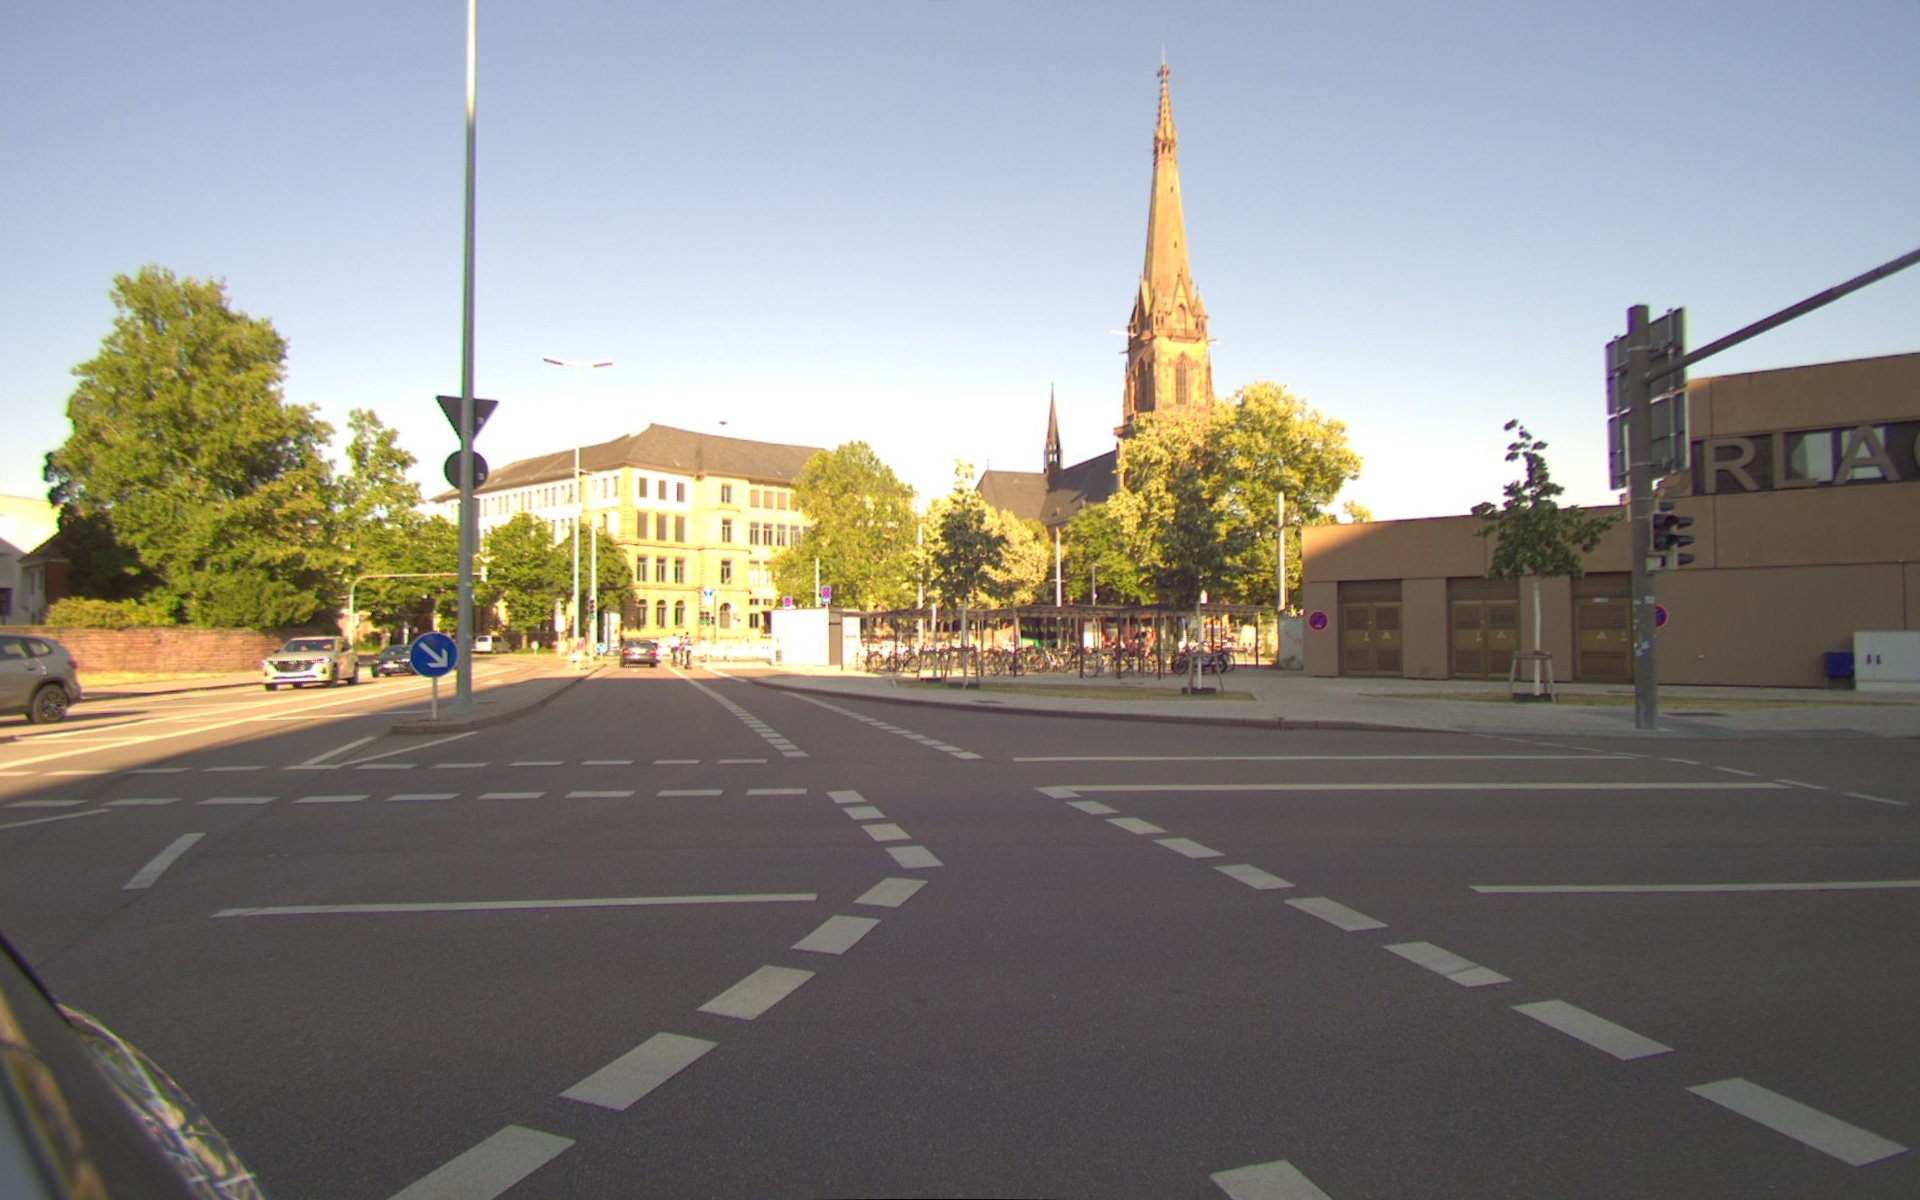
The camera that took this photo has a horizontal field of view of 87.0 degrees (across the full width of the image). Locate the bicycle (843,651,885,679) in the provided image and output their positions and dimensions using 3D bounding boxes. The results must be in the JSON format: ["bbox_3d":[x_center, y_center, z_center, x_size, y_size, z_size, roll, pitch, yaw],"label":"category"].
[{"bbox_3d":[-3.978,2.682,41.925,1.973,1.062,0.559,-2,-1,43],"label":"bicycle"}]

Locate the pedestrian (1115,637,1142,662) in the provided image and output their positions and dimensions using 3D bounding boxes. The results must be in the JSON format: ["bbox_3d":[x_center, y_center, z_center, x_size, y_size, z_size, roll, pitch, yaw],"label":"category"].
[{"bbox_3d":[9.647,2.821,57.998,1.078,1.359,1.039,-3,-2,40],"label":"pedestrian"}]

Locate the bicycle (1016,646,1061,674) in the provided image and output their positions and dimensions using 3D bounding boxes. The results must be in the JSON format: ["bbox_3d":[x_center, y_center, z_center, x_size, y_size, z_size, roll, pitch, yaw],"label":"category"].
[{"bbox_3d":[3.320,2.531,42.837,1.928,1.097,0.530,-1,-1,36],"label":"bicycle"}]

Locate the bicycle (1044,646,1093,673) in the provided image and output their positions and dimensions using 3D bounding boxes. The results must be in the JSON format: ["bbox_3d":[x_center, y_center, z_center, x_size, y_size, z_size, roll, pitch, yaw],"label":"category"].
[{"bbox_3d":[4.636,2.527,43.326,2.068,1.097,0.560,-1,-1,36],"label":"bicycle"}]

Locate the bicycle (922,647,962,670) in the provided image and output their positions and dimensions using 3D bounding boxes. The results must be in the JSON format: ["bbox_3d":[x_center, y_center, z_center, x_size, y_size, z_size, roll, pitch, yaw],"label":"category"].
[{"bbox_3d":[-0.880,2.778,48.393,1.968,1.062,0.492,-1,-1,34],"label":"bicycle"}]

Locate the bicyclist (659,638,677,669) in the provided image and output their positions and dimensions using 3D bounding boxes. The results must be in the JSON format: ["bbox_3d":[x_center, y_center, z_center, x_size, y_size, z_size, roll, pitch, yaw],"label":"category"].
[{"bbox_3d":[-15.766,2.871,54.629,0.852,1.666,0.946,0,-2,-12],"label":"bicyclist"}]

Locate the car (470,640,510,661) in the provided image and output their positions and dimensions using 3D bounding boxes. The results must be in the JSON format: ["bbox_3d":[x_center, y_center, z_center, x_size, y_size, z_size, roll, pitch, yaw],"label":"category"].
[{"bbox_3d":[-51.133,5.495,110.200,1.976,2.028,4.144,-1,1,7],"label":"car"}]

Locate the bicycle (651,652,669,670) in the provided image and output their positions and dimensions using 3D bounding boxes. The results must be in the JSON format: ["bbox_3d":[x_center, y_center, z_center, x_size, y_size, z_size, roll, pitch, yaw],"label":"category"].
[{"bbox_3d":[-18.633,3.789,62.885,0.868,1.106,2.194,0,-2,-12],"label":"bicycle"}]

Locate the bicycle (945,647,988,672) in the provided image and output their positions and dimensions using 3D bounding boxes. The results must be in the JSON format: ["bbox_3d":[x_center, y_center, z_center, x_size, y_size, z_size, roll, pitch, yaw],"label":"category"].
[{"bbox_3d":[0.291,2.647,45.301,1.969,1.062,0.560,-1,-1,35],"label":"bicycle"}]

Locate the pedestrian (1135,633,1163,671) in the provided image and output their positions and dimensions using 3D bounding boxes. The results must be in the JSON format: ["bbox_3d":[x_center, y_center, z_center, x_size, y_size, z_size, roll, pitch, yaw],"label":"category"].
[{"bbox_3d":[10.454,2.875,55.837,1.029,2.029,1.120,-3,-2,40],"label":"pedestrian"}]

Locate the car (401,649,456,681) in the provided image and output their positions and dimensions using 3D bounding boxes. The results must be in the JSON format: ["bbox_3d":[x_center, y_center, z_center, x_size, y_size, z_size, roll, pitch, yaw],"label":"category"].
[{"bbox_3d":[-29.541,3.567,56.372,2.157,1.598,4.621,-2,-2,-21],"label":"car"}]

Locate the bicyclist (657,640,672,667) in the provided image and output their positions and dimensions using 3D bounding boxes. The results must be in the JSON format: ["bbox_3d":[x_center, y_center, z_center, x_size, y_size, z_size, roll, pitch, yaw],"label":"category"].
[{"bbox_3d":[-18.355,3.344,62.903,0.852,1.666,0.946,0,-2,-12],"label":"bicyclist"}]

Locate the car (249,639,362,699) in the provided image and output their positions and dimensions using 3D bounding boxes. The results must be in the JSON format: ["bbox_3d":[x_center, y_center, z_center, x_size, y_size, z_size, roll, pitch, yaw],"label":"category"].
[{"bbox_3d":[-20.999,2.155,32.684,2.157,1.697,4.621,-2,-2,-21],"label":"car"}]

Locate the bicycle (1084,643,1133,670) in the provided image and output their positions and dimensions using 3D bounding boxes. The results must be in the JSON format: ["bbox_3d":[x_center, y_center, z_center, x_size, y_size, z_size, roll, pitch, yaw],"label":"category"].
[{"bbox_3d":[6.363,2.420,43.513,2.068,1.097,0.560,-1,-1,36],"label":"bicycle"}]

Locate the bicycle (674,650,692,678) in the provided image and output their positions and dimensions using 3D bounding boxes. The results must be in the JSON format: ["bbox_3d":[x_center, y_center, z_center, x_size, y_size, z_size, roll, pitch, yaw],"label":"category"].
[{"bbox_3d":[-12.764,2.948,46.687,0.752,1.196,2.613,-2,-2,-15],"label":"bicycle"}]

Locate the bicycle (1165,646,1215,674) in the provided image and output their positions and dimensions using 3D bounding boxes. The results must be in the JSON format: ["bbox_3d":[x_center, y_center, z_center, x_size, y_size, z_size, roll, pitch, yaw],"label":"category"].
[{"bbox_3d":[9.345,2.428,41.088,1.928,1.051,0.516,-1,-1,36],"label":"bicycle"}]

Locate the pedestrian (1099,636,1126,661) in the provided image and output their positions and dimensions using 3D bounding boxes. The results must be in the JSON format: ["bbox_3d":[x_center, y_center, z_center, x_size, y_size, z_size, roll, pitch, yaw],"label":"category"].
[{"bbox_3d":[8.643,2.731,57.319,1.078,1.359,1.039,-3,-2,40],"label":"pedestrian"}]

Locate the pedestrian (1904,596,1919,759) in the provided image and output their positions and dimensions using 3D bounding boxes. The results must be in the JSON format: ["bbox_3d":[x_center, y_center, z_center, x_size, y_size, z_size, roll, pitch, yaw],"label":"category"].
[{"bbox_3d":[10.722,0.823,10.571,0.776,1.754,0.927,0,-2,1],"label":"pedestrian"}]

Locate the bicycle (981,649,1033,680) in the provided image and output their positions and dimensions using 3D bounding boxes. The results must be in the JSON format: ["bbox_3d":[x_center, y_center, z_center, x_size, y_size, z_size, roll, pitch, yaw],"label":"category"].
[{"bbox_3d":[1.735,2.387,37.621,1.970,1.114,0.560,-1,-1,37],"label":"bicycle"}]

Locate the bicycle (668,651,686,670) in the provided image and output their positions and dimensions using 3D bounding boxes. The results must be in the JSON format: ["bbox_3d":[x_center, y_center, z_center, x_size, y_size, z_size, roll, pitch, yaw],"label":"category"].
[{"bbox_3d":[-16.431,3.500,58.764,0.868,1.106,2.194,0,-2,-12],"label":"bicycle"}]

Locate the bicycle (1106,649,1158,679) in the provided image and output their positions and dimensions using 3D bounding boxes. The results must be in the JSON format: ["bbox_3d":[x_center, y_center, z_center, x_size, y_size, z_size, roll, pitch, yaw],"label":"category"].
[{"bbox_3d":[6.356,2.373,37.505,1.842,1.051,0.517,-1,-1,32],"label":"bicycle"}]

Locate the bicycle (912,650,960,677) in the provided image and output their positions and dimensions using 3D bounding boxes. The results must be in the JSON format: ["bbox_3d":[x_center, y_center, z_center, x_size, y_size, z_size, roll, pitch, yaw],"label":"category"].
[{"bbox_3d":[-1.033,2.689,42.881,1.970,1.062,0.749,-1,-1,37],"label":"bicycle"}]

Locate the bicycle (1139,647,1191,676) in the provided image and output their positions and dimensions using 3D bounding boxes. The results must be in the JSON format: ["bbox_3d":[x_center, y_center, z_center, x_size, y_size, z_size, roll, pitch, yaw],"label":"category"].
[{"bbox_3d":[7.943,2.375,39.302,1.928,1.051,0.516,-1,-1,36],"label":"bicycle"}]

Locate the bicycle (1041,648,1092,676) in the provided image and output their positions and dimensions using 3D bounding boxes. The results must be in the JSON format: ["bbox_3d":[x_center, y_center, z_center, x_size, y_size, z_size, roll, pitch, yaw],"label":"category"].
[{"bbox_3d":[4.241,2.460,40.259,2.033,1.051,0.596,-2,-1,41],"label":"bicycle"}]

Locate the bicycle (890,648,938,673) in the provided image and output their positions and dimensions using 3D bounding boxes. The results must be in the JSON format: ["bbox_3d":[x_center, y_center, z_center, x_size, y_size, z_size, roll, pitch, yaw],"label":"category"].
[{"bbox_3d":[-2.070,2.729,45.565,2.115,1.062,0.828,-1,-1,35],"label":"bicycle"}]

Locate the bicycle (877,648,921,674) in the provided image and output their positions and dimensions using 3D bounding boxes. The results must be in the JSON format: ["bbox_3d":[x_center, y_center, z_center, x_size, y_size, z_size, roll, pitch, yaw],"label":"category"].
[{"bbox_3d":[-2.656,2.657,44.049,1.934,1.062,0.674,-1,-1,38],"label":"bicycle"}]

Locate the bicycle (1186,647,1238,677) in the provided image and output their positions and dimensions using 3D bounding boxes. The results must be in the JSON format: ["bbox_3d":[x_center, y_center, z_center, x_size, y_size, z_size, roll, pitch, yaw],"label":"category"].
[{"bbox_3d":[9.475,2.321,38.093,1.843,1.051,0.517,-1,-1,34],"label":"bicycle"}]

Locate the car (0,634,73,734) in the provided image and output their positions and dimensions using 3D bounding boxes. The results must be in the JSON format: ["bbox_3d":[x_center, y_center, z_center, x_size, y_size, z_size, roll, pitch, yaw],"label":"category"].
[{"bbox_3d":[-16.648,1.336,15.627,2.125,1.633,4.364,0,-2,-2],"label":"car"}]

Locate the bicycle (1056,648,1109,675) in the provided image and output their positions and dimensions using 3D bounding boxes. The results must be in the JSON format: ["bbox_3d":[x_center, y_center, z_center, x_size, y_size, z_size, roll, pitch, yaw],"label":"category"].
[{"bbox_3d":[5.021,2.513,41.536,2.103,1.051,0.597,-1,-1,36],"label":"bicycle"}]

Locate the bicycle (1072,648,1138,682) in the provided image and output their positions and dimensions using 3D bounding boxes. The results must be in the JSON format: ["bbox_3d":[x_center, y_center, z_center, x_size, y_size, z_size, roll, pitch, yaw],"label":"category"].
[{"bbox_3d":[5.024,2.269,35.140,2.118,1.114,0.736,-3,-2,34],"label":"bicycle"}]

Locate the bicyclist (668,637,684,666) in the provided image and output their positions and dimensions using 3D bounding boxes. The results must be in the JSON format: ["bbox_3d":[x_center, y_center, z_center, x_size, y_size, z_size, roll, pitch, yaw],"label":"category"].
[{"bbox_3d":[-16.459,2.989,58.707,0.852,1.666,0.946,0,-2,-12],"label":"bicyclist"}]

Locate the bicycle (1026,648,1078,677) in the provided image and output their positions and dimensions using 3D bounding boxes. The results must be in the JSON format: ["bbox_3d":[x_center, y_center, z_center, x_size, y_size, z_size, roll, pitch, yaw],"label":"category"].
[{"bbox_3d":[3.572,2.431,39.382,2.031,1.051,0.596,-1,-1,38],"label":"bicycle"}]

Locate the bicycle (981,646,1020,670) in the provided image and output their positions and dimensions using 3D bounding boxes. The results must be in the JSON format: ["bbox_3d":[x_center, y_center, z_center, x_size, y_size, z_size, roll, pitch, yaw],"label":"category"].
[{"bbox_3d":[1.893,2.713,47.271,1.971,1.062,0.412,-1,-1,39],"label":"bicycle"}]

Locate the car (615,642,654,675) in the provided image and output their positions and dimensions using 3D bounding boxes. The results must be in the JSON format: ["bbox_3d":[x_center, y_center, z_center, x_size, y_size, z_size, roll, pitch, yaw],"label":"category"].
[{"bbox_3d":[-16.418,2.916,51.057,1.776,1.455,3.990,0,-1,-18],"label":"car"}]

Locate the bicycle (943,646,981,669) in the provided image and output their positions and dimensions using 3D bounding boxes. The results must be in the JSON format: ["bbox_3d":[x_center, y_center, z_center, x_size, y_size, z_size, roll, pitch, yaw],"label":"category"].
[{"bbox_3d":[0.106,2.739,48.343,1.971,1.062,0.412,-1,-1,39],"label":"bicycle"}]

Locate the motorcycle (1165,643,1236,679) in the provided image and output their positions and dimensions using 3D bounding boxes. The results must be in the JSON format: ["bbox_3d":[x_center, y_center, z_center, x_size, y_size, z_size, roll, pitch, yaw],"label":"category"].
[{"bbox_3d":[8.613,2.193,36.337,2.354,1.257,0.710,-3,-2,39],"label":"motorcycle"}]

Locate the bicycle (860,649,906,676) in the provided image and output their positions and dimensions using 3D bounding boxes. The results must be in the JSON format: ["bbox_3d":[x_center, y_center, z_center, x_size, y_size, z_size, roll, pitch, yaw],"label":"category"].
[{"bbox_3d":[-3.299,2.670,43.332,2.020,1.062,0.674,-1,-1,38],"label":"bicycle"}]

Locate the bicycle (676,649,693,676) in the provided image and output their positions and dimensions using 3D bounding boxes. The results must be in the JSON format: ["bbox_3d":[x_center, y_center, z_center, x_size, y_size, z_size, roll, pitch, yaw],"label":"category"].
[{"bbox_3d":[-13.529,3.058,49.779,0.752,1.196,2.613,-2,-2,-15],"label":"bicycle"}]

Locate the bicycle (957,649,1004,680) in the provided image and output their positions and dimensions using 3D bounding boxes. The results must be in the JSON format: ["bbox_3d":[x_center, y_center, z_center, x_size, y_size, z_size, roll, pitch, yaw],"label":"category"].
[{"bbox_3d":[0.779,2.457,38.821,1.795,1.114,0.480,-1,-1,31],"label":"bicycle"}]

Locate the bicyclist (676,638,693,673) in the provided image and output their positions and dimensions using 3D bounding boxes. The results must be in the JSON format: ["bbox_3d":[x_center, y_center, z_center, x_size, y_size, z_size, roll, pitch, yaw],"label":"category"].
[{"bbox_3d":[-13.536,2.701,49.781,0.752,1.681,1.065,-2,-2,-15],"label":"bicyclist"}]

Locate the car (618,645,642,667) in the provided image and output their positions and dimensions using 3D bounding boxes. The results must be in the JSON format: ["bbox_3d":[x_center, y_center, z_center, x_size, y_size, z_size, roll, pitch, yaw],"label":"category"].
[{"bbox_3d":[-21.289,3.610,65.231,1.360,1.348,3.515,1,-2,-20],"label":"car"}]

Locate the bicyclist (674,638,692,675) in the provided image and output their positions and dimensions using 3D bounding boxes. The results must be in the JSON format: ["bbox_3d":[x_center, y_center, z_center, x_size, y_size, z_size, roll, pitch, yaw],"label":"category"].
[{"bbox_3d":[-12.787,2.593,46.704,0.752,1.681,1.065,-2,-2,-15],"label":"bicyclist"}]

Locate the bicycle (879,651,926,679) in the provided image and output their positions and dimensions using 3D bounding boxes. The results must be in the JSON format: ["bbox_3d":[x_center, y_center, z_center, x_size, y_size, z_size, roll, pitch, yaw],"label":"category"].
[{"bbox_3d":[-2.365,2.647,41.245,1.969,1.062,0.560,-1,-1,35],"label":"bicycle"}]

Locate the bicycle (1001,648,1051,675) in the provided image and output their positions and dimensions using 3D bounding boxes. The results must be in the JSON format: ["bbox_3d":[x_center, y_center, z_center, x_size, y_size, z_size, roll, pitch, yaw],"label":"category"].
[{"bbox_3d":[2.716,2.526,41.639,1.927,1.051,0.758,-1,-1,35],"label":"bicycle"}]

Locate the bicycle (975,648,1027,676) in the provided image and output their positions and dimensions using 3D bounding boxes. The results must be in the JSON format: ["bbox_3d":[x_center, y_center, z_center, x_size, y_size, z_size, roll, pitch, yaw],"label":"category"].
[{"bbox_3d":[1.636,2.495,40.663,1.927,1.051,0.856,-1,-1,35],"label":"bicycle"}]

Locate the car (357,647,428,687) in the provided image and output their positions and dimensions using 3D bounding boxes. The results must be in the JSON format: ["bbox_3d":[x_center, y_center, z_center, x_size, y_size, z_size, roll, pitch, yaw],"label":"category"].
[{"bbox_3d":[-25.588,2.964,45.808,2.157,1.598,4.621,-2,-2,-21],"label":"car"}]

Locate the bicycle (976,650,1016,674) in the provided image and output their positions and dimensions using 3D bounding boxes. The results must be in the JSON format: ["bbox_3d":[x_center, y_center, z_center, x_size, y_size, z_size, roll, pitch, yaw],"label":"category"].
[{"bbox_3d":[1.644,2.852,46.930,1.971,1.062,0.412,-1,-1,39],"label":"bicycle"}]

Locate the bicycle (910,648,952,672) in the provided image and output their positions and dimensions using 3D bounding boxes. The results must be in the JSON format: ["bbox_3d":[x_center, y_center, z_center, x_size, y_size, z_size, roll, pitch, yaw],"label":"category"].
[{"bbox_3d":[-1.351,2.751,46.640,1.965,1.062,0.506,-1,-1,30],"label":"bicycle"}]
